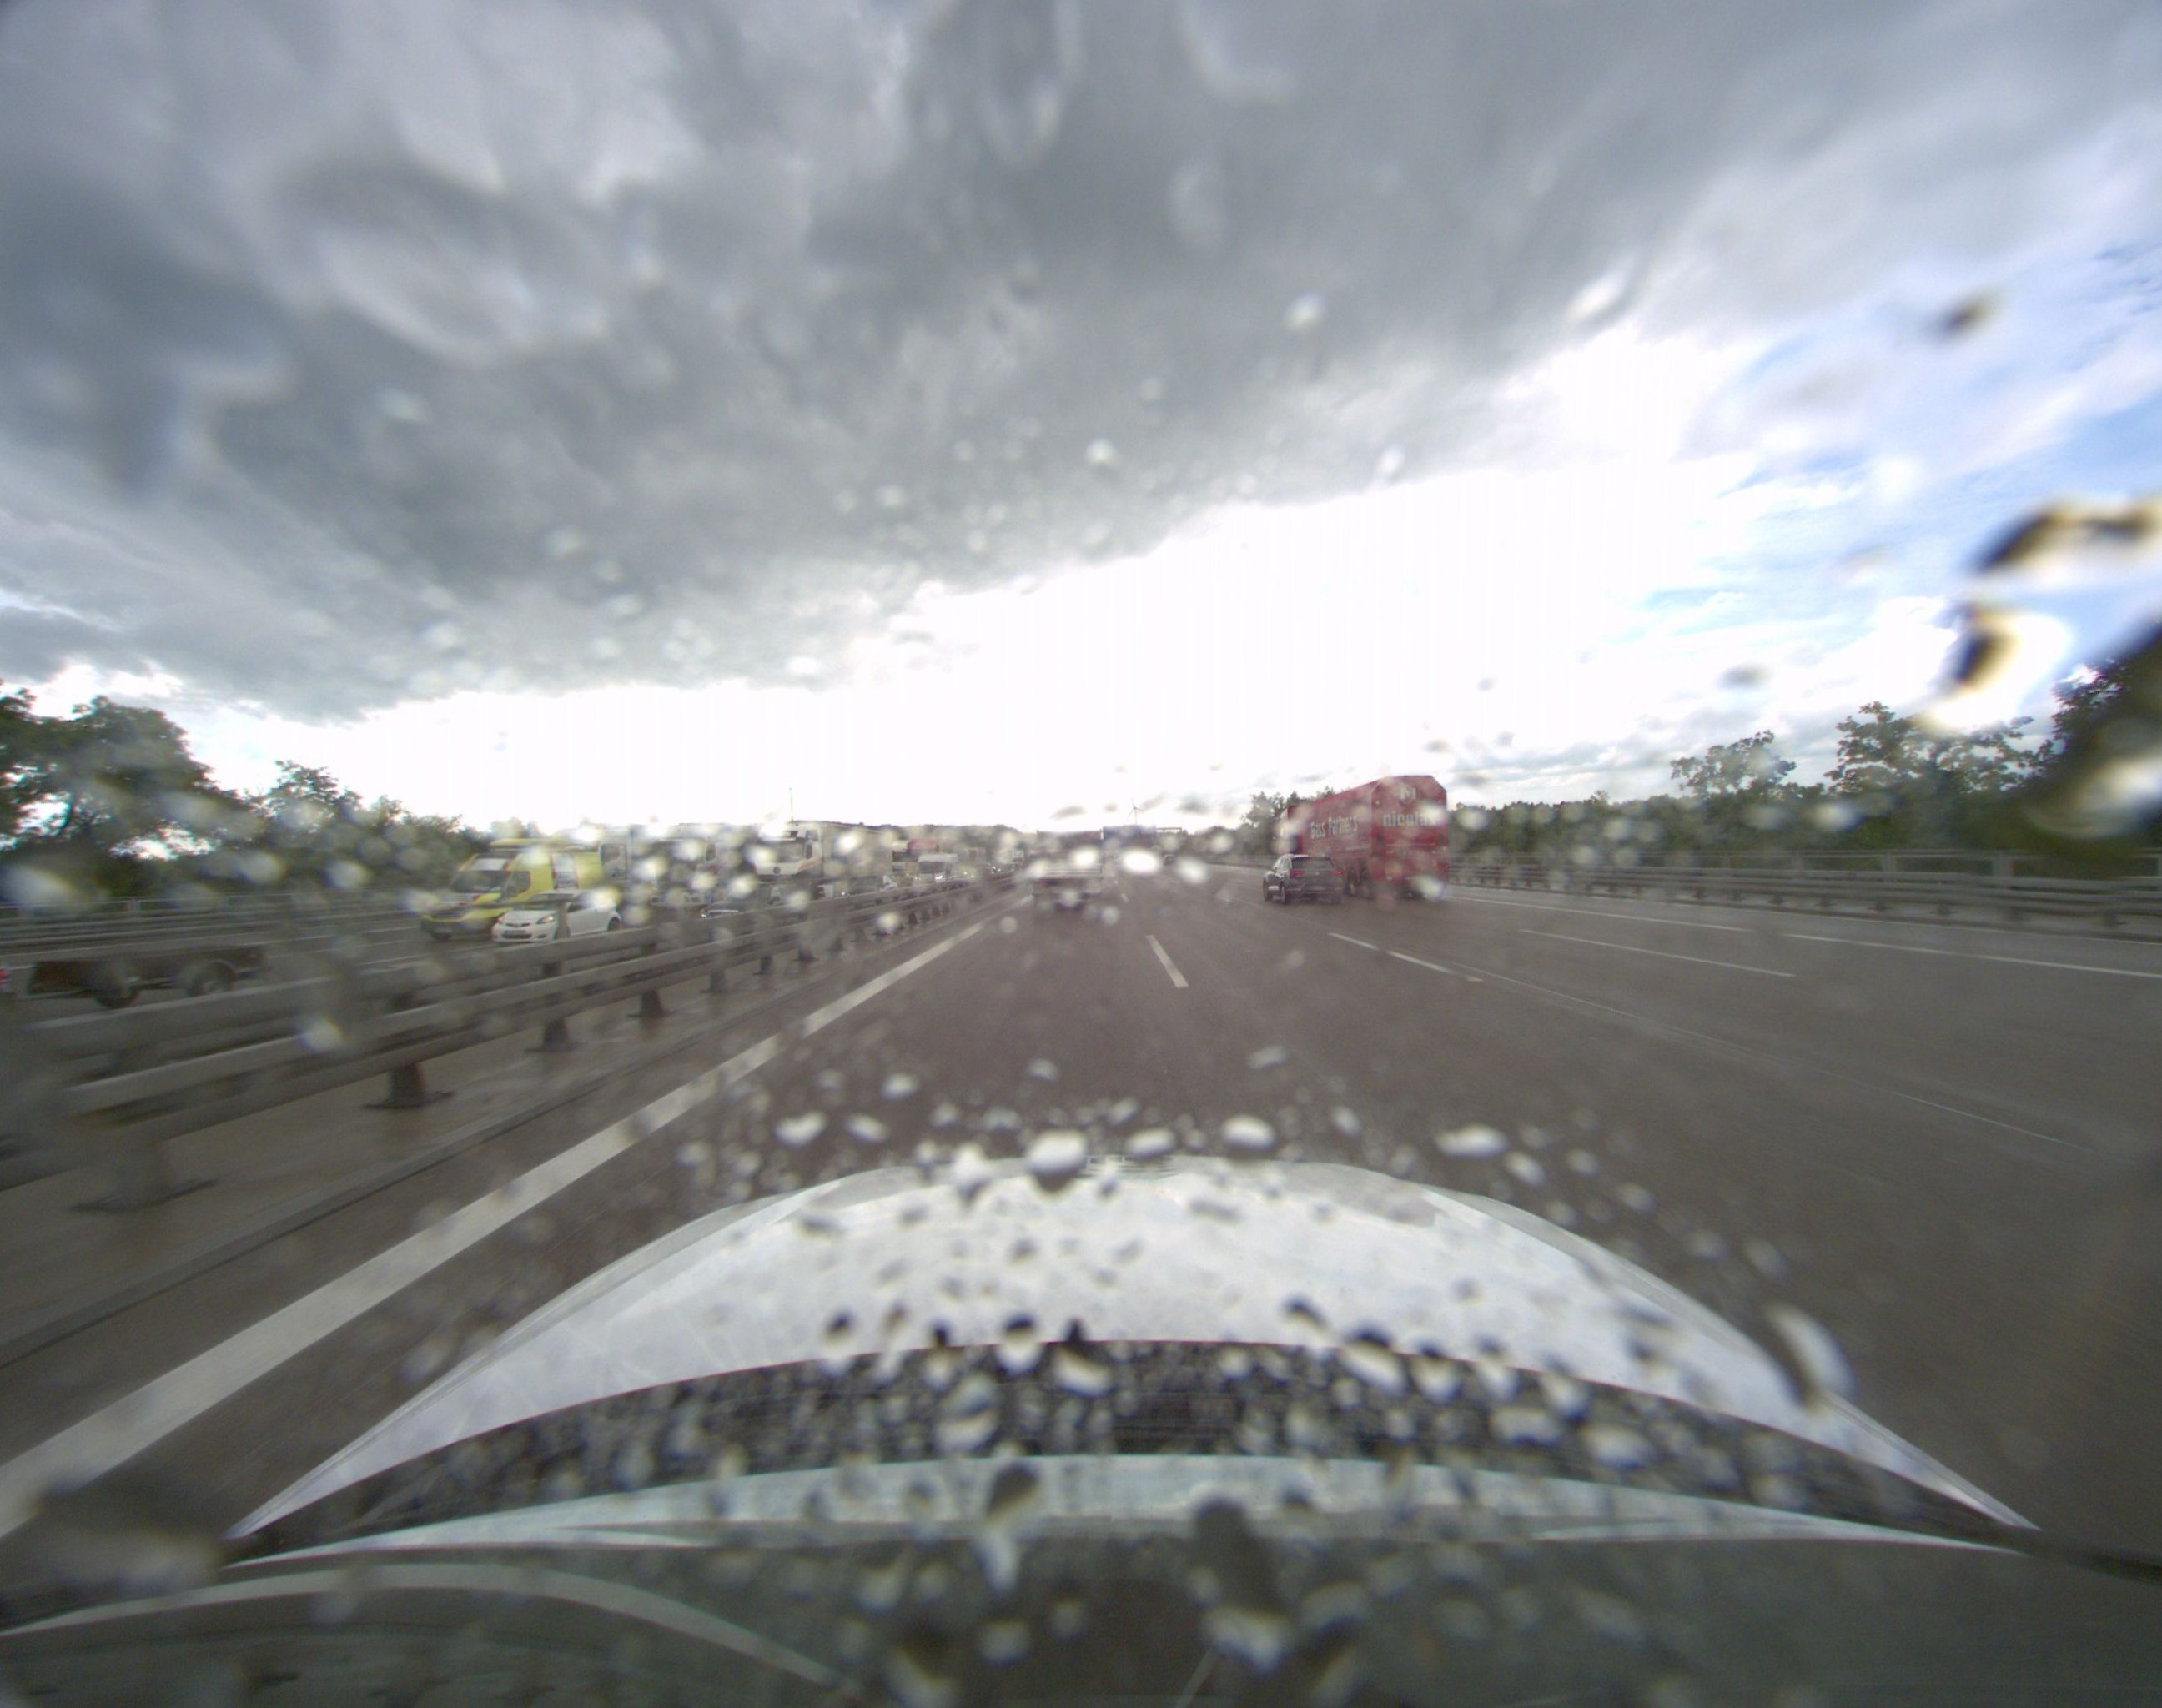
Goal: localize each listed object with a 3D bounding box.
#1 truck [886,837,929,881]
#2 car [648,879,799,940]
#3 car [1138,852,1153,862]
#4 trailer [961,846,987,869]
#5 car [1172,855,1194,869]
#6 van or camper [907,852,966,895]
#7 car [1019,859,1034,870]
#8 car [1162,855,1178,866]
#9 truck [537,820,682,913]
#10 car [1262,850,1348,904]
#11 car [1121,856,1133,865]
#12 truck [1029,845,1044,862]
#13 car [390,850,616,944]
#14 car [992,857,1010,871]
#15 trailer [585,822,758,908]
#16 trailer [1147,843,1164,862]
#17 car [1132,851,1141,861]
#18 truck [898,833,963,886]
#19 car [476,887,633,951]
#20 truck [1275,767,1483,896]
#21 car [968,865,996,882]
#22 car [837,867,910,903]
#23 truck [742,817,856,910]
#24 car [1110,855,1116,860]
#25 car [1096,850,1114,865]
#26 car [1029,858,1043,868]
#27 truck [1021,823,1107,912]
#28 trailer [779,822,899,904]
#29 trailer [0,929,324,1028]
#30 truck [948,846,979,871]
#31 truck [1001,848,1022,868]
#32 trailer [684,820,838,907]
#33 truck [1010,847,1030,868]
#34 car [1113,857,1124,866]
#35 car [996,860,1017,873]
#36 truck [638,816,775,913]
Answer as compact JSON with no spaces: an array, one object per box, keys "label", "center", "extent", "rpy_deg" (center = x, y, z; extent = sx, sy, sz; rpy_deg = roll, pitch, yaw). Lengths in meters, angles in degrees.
[{"label":"truck","center":[-16.600,0.451,78.108],"extent":[2.834,4.029,4.966],"rpy_deg":[-1,0,2]},{"label":"car","center":[-10.521,1.568,24.534],"extent":[2.008,1.387,5.460],"rpy_deg":[-2,0,1]},{"label":"car","center":[10.498,0.479,132.327],"extent":[2.091,1.699,3.999],"rpy_deg":[-1,0,-1]},{"label":"trailer","center":[-18.986,0.552,145.072],"extent":[3.206,3.959,8.855],"rpy_deg":[-1,0,2]},{"label":"car","center":[12.824,0.992,102.418],"extent":[2.098,1.605,5.064],"rpy_deg":[-1,0,-1]},{"label":"van or camper","center":[-9.233,1.157,52.648],"extent":[2.270,2.496,7.304],"rpy_deg":[-2,0,1]},{"label":"car","center":[-7.729,1.475,115.586],"extent":[1.567,1.354,4.387],"rpy_deg":[-2,0,2]},{"label":"car","center":[13.735,1.009,125.920],"extent":[2.037,1.699,5.009],"rpy_deg":[-1,0,2]},{"label":"truck","center":[-22.234,0.546,38.935],"extent":[2.748,3.993,6.581],"rpy_deg":[-2,0,3]},{"label":"car","center":[6.986,0.676,25.739],"extent":[1.785,1.562,3.723],"rpy_deg":[-1,0,2]},{"label":"car","center":[8.449,1.161,149.327],"extent":[2.037,1.699,4.002],"rpy_deg":[-1,0,2]},{"label":"truck","center":[-11.545,-0.085,211.241],"extent":[3.166,4.194,7.741],"rpy_deg":[-2,0,2]},{"label":"car","center":[-17.811,1.175,25.758],"extent":[2.148,2.504,6.774],"rpy_deg":[-2,0,1]},{"label":"car","center":[-11.383,1.401,115.967],"extent":[1.713,1.728,5.107],"rpy_deg":[-2,0,2]},{"label":"trailer","center":[-21.993,0.535,45.013],"extent":[2.747,3.993,12.314],"rpy_deg":[-2,0,2]},{"label":"trailer","center":[16.839,-0.314,184.093],"extent":[3.319,4.176,11.847],"rpy_deg":[-1,0,3]},{"label":"car","center":[14.188,0.534,207.318],"extent":[2.037,2.498,4.003],"rpy_deg":[-1,0,2]},{"label":"truck","center":[-13.008,0.471,71.771],"extent":[2.973,4.149,12.525],"rpy_deg":[-2,0,1]},{"label":"car","center":[-14.435,1.723,22.632],"extent":[1.596,1.387,4.101],"rpy_deg":[-2,0,1]},{"label":"truck","center":[11.224,-0.720,33.447],"extent":[3.141,4.003,15.641],"rpy_deg":[-1,0,1]},{"label":"car","center":[-9.160,1.749,75.659],"extent":[1.916,1.419,5.012],"rpy_deg":[-2,0,1]},{"label":"car","center":[-9.550,1.392,37.913],"extent":[1.916,1.419,5.165],"rpy_deg":[-2,0,1]},{"label":"truck","center":[-14.069,0.435,41.405],"extent":[2.870,4.180,7.558],"rpy_deg":[-2,0,1]},{"label":"car","center":[9.836,1.180,250.363],"extent":[1.806,1.445,3.999],"rpy_deg":[-2,0,0]},{"label":"car","center":[2.896,0.412,96.736],"extent":[2.037,1.699,4.003],"rpy_deg":[-1,0,2]},{"label":"car","center":[-7.353,1.478,133.836],"extent":[1.713,1.502,5.506],"rpy_deg":[-2,0,2]},{"label":"truck","center":[-0.487,0.358,26.044],"extent":[2.346,2.408,7.356],"rpy_deg":[-1,0,0]},{"label":"trailer","center":[-13.906,0.467,48.425],"extent":[2.870,4.145,13.030],"rpy_deg":[-2,0,1]},{"label":"trailer","center":[-14.595,1.903,13.052],"extent":[1.719,1.038,3.341],"rpy_deg":[-2,0,1]},{"label":"truck","center":[-19.412,0.763,135.469],"extent":[3.213,3.910,10.287],"rpy_deg":[-1,0,2]},{"label":"truck","center":[-13.611,0.780,160.181],"extent":[3.187,3.933,7.578],"rpy_deg":[-1,0,2]},{"label":"trailer","center":[-17.424,0.469,45.904],"extent":[2.869,4.145,13.037],"rpy_deg":[-2,0,3]},{"label":"truck","center":[-10.652,0.594,143.248],"extent":[2.509,3.399,8.545],"rpy_deg":[-2,0,2]},{"label":"car","center":[7.520,1.461,165.225],"extent":[1.966,1.699,3.999],"rpy_deg":[-1,0,-1]},{"label":"car","center":[-8.668,1.418,94.603],"extent":[1.824,1.452,4.002],"rpy_deg":[-2,0,2]},{"label":"truck","center":[-17.767,0.468,39.263],"extent":[2.892,4.147,7.106],"rpy_deg":[-2,0,3]}]
